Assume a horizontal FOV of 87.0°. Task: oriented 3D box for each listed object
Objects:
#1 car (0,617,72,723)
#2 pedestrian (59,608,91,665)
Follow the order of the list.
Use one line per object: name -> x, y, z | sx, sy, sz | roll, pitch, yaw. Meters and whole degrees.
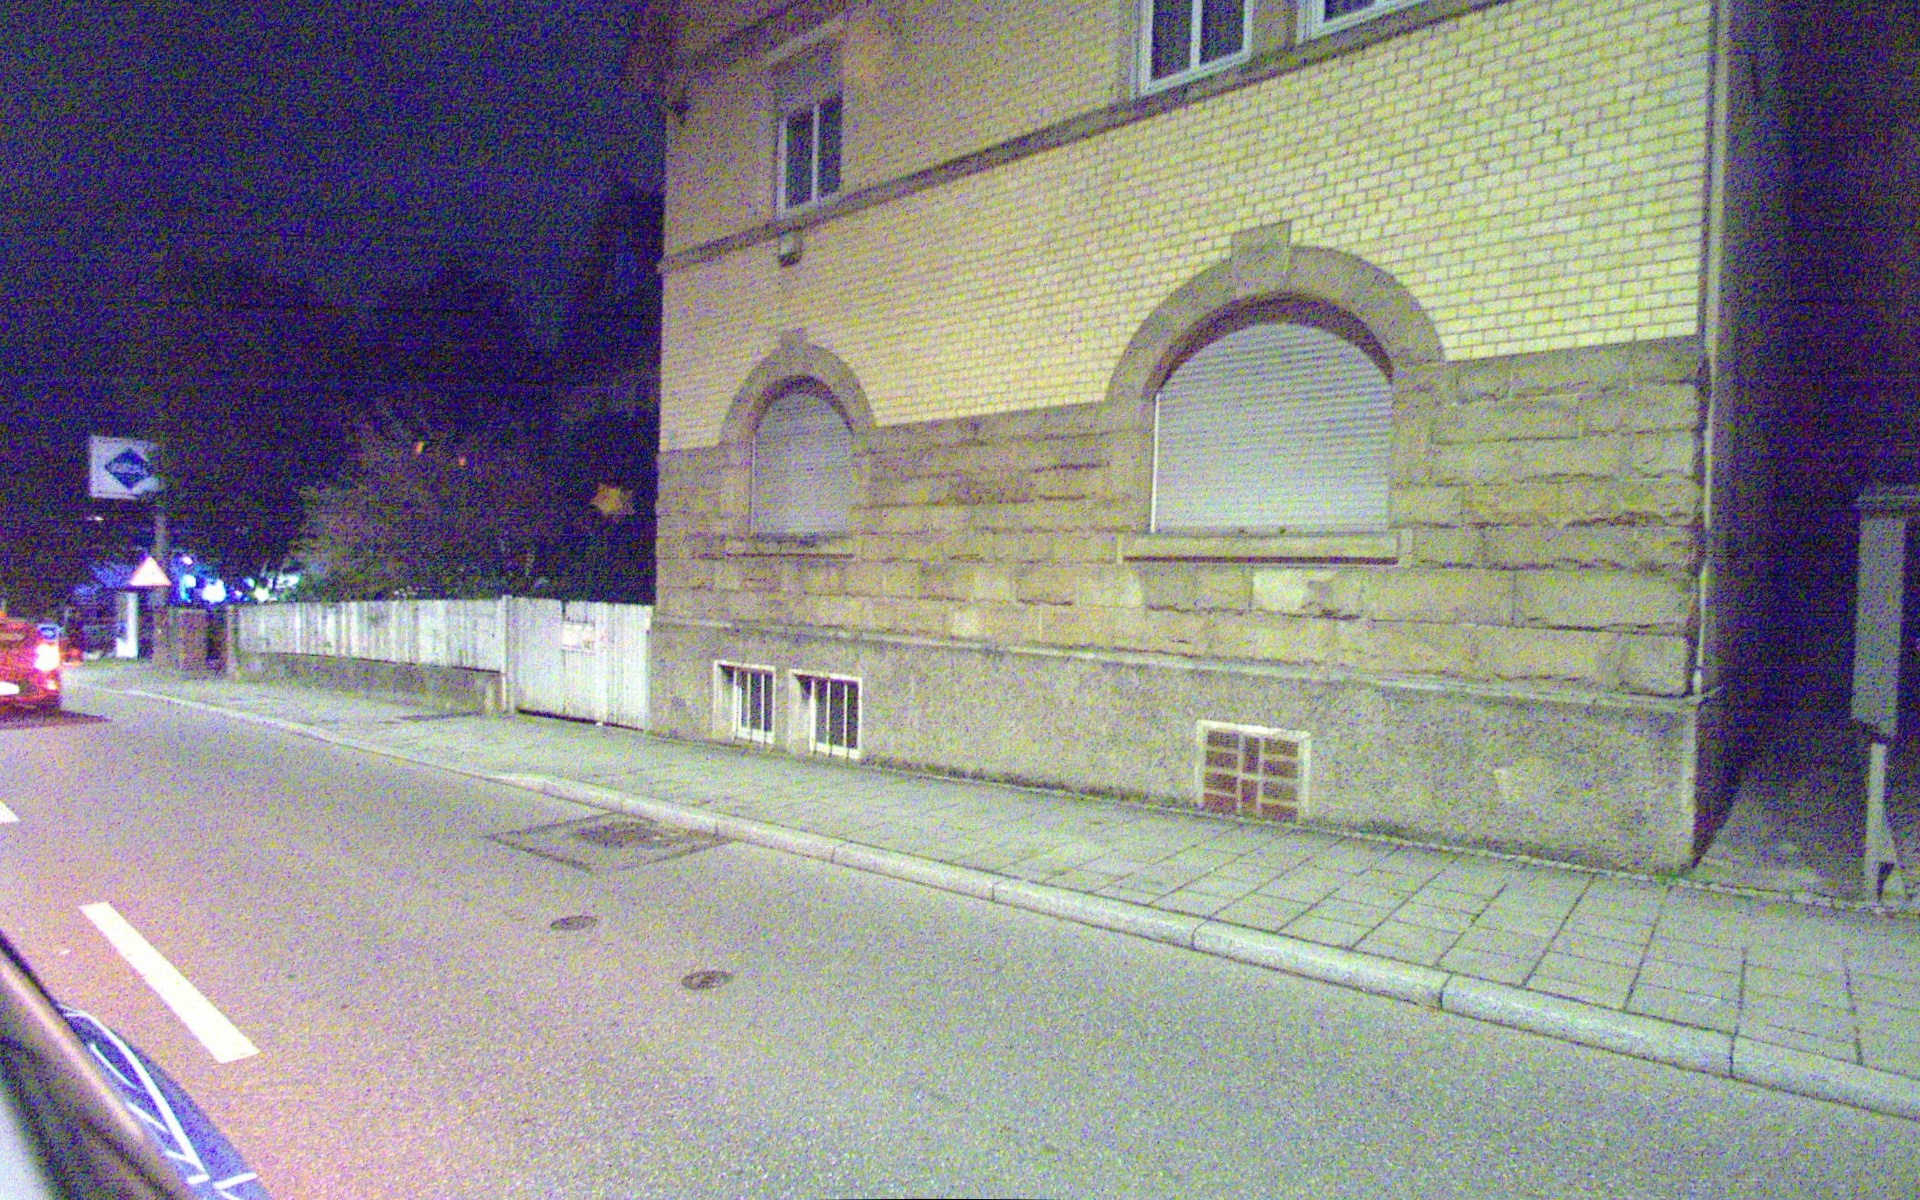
car -> -14.833, 1.092, 15.146 | 3.482, 1.453, 1.733 | -5, -2, 39
pedestrian -> -27.633, 1.127, 31.600 | 0.500, 1.773, 0.664 | -1, 0, 41
